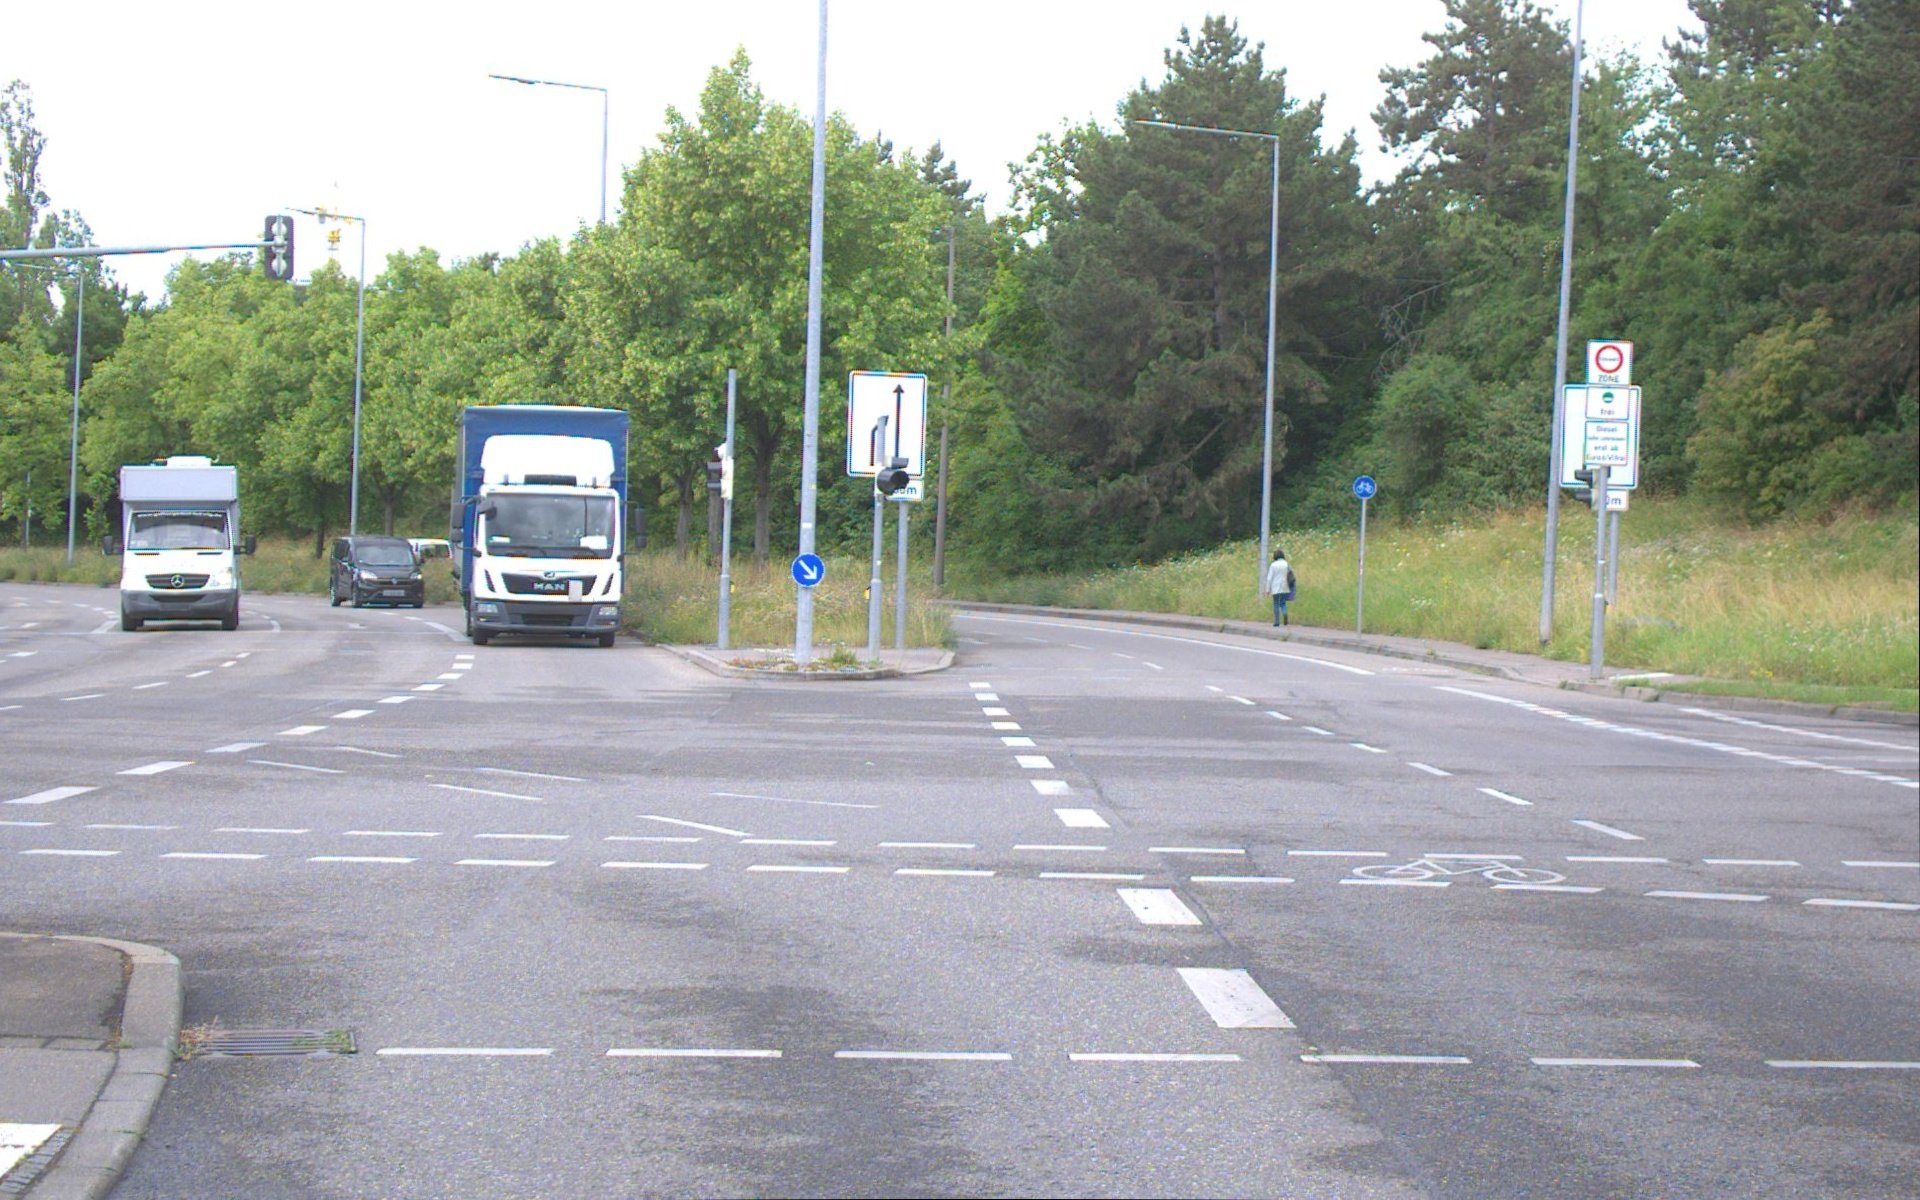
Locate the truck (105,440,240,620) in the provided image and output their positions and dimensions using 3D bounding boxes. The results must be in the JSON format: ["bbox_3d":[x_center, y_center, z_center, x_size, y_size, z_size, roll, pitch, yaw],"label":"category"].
[{"bbox_3d":[-14.121,-1.249,61.843,2.104,3.000,6.275,-3,1,-12],"label":"truck"}]

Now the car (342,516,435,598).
[{"bbox_3d":[-14.602,-1.113,87.602,1.993,2.007,4.610,1,1,-14],"label":"car"}]

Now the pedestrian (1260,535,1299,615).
[{"bbox_3d":[6.866,-0.540,73.852,0.739,1.711,0.625,1,1,-1],"label":"pedestrian"}]

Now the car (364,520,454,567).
[{"bbox_3d":[-20.644,-2.122,128.716,1.993,1.722,3.727,0,1,-33],"label":"car"}]

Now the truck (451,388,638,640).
[{"bbox_3d":[-6.863,-1.375,56.406,2.778,3.791,8.391,1,1,-8],"label":"truck"}]

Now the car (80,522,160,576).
[{"bbox_3d":[-28.715,-1.748,117.481,1.993,1.777,4.001,0,1,-23],"label":"car"}]
